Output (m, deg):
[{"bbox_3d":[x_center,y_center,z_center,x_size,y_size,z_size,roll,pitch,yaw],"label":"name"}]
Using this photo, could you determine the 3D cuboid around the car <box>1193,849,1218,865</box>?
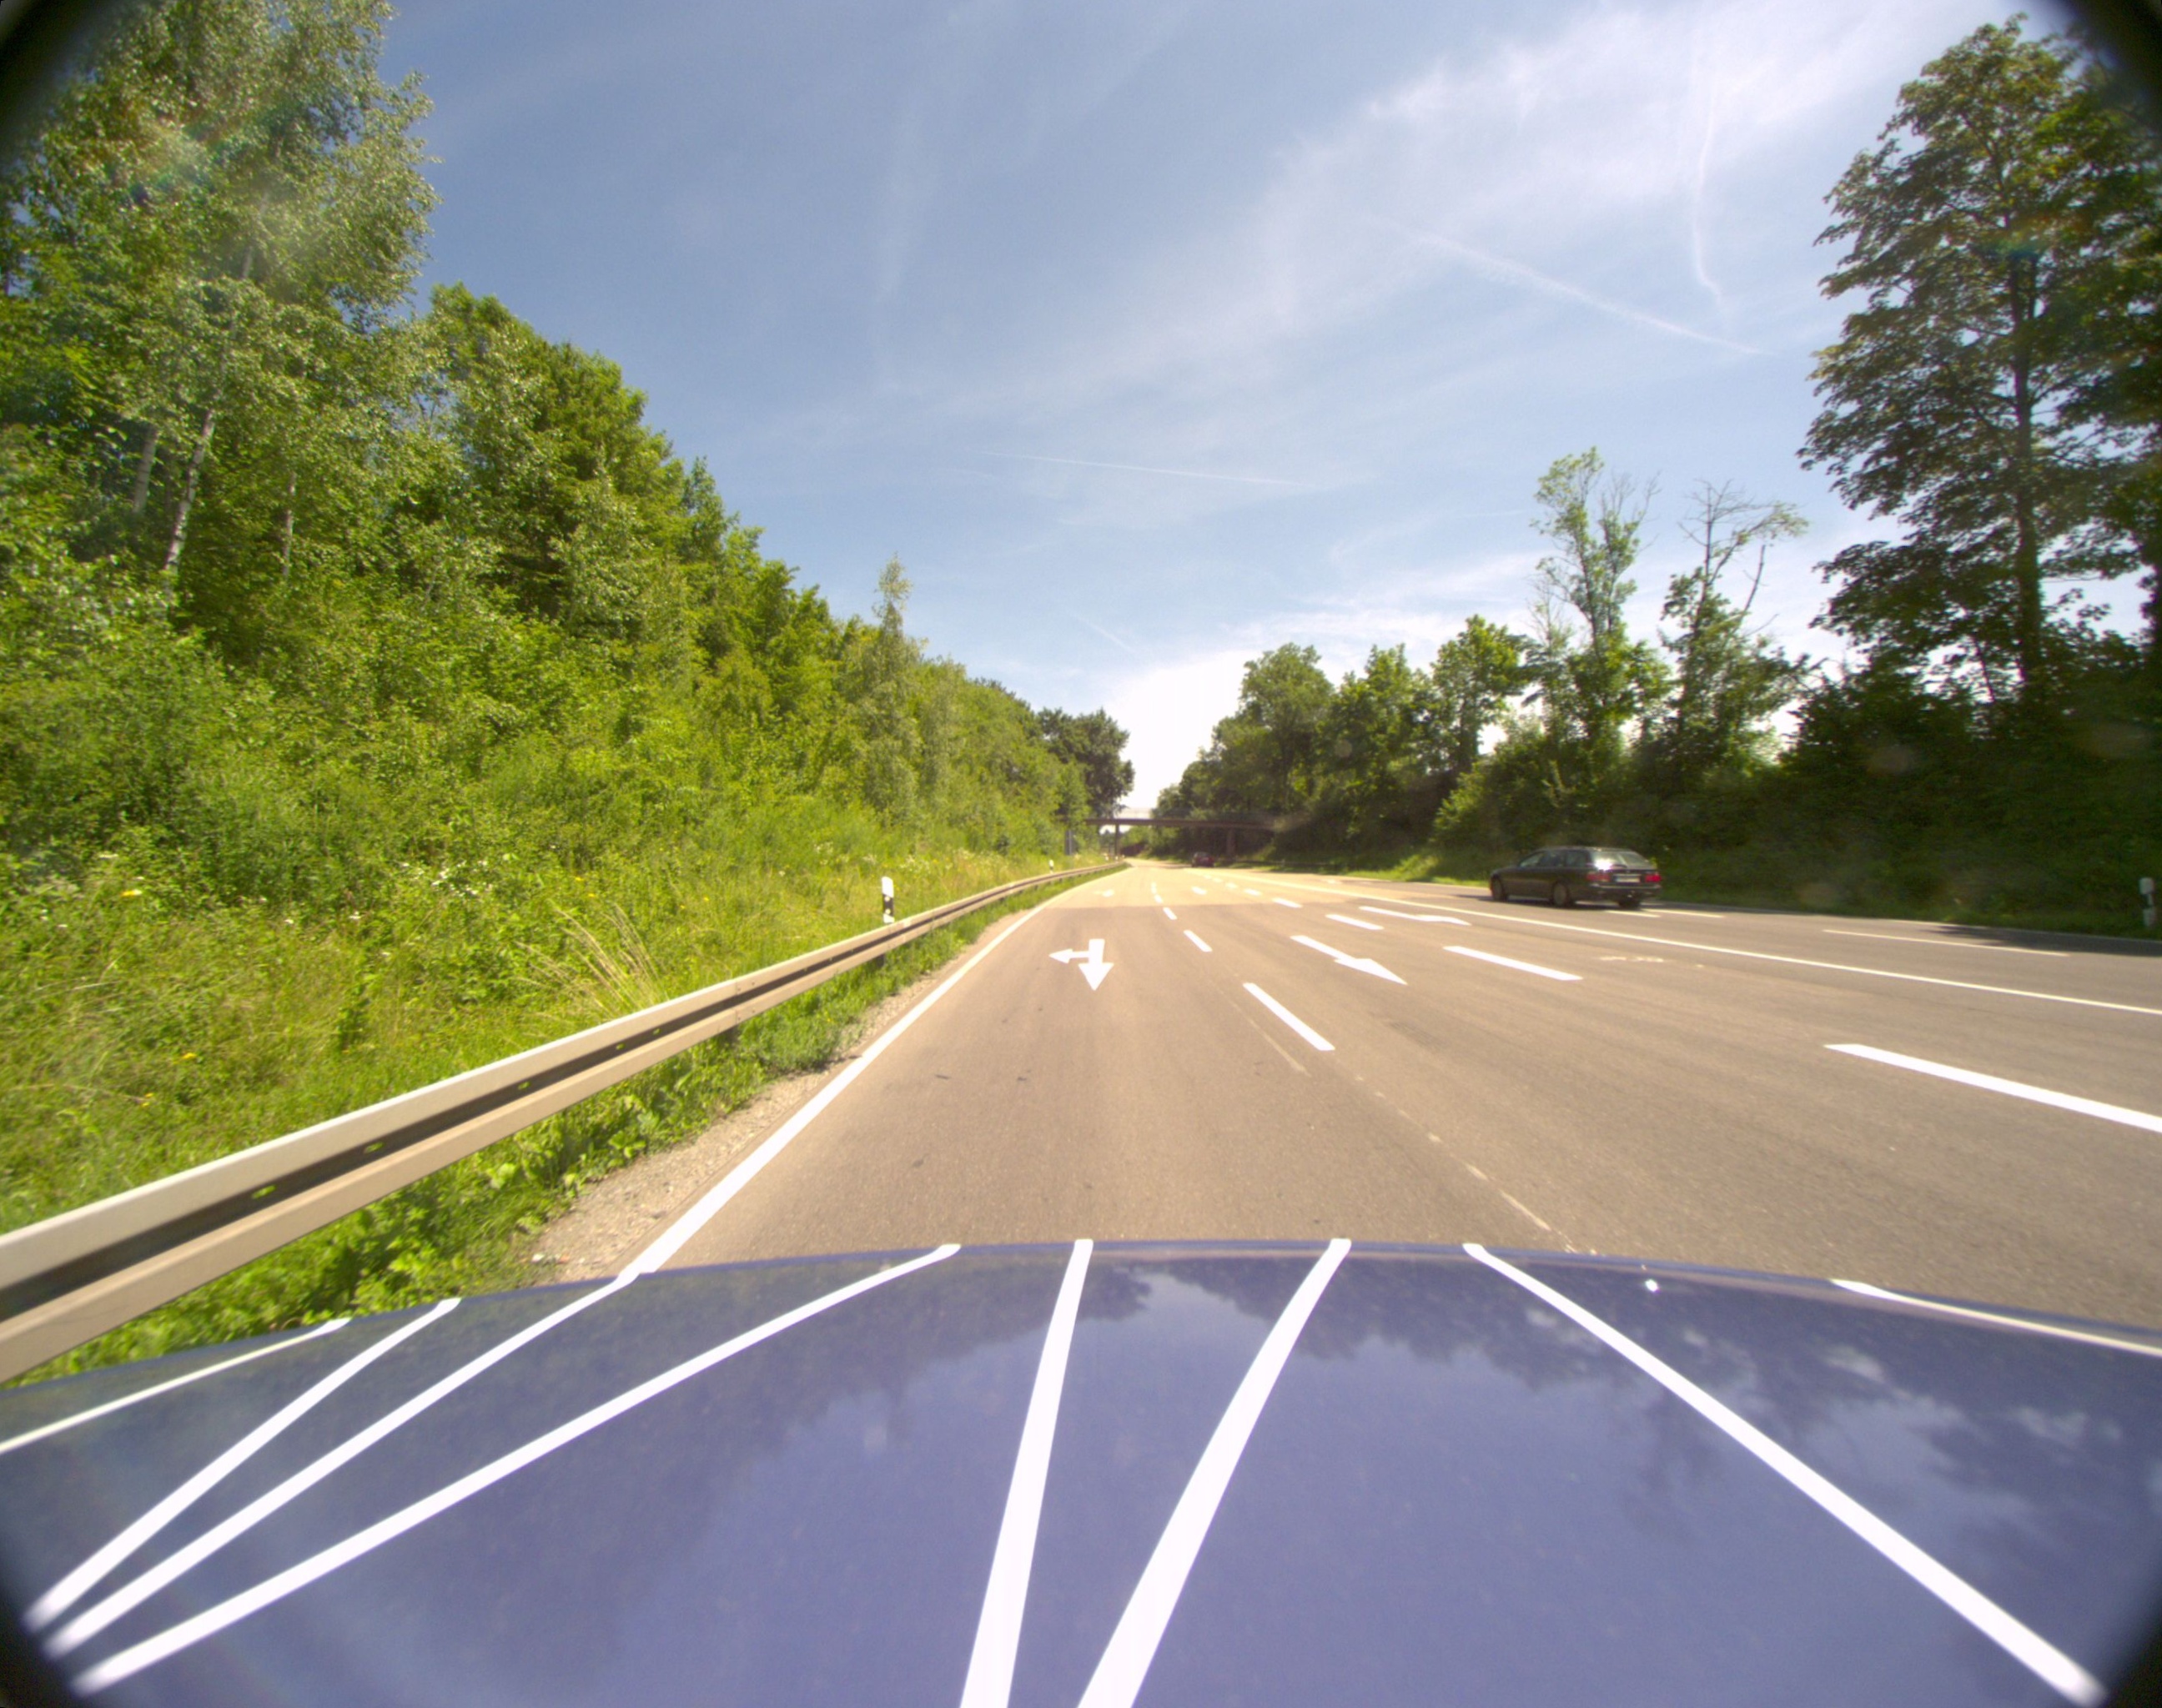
[{"bbox_3d":[12.276,0.263,75.389,1.908,1.500,3.764,-1,0,1],"label":"car"}]

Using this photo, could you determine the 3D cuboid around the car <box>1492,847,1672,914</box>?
[{"bbox_3d":[12.022,0.559,18.588,1.771,1.378,3.999,-2,1,0],"label":"car"}]
